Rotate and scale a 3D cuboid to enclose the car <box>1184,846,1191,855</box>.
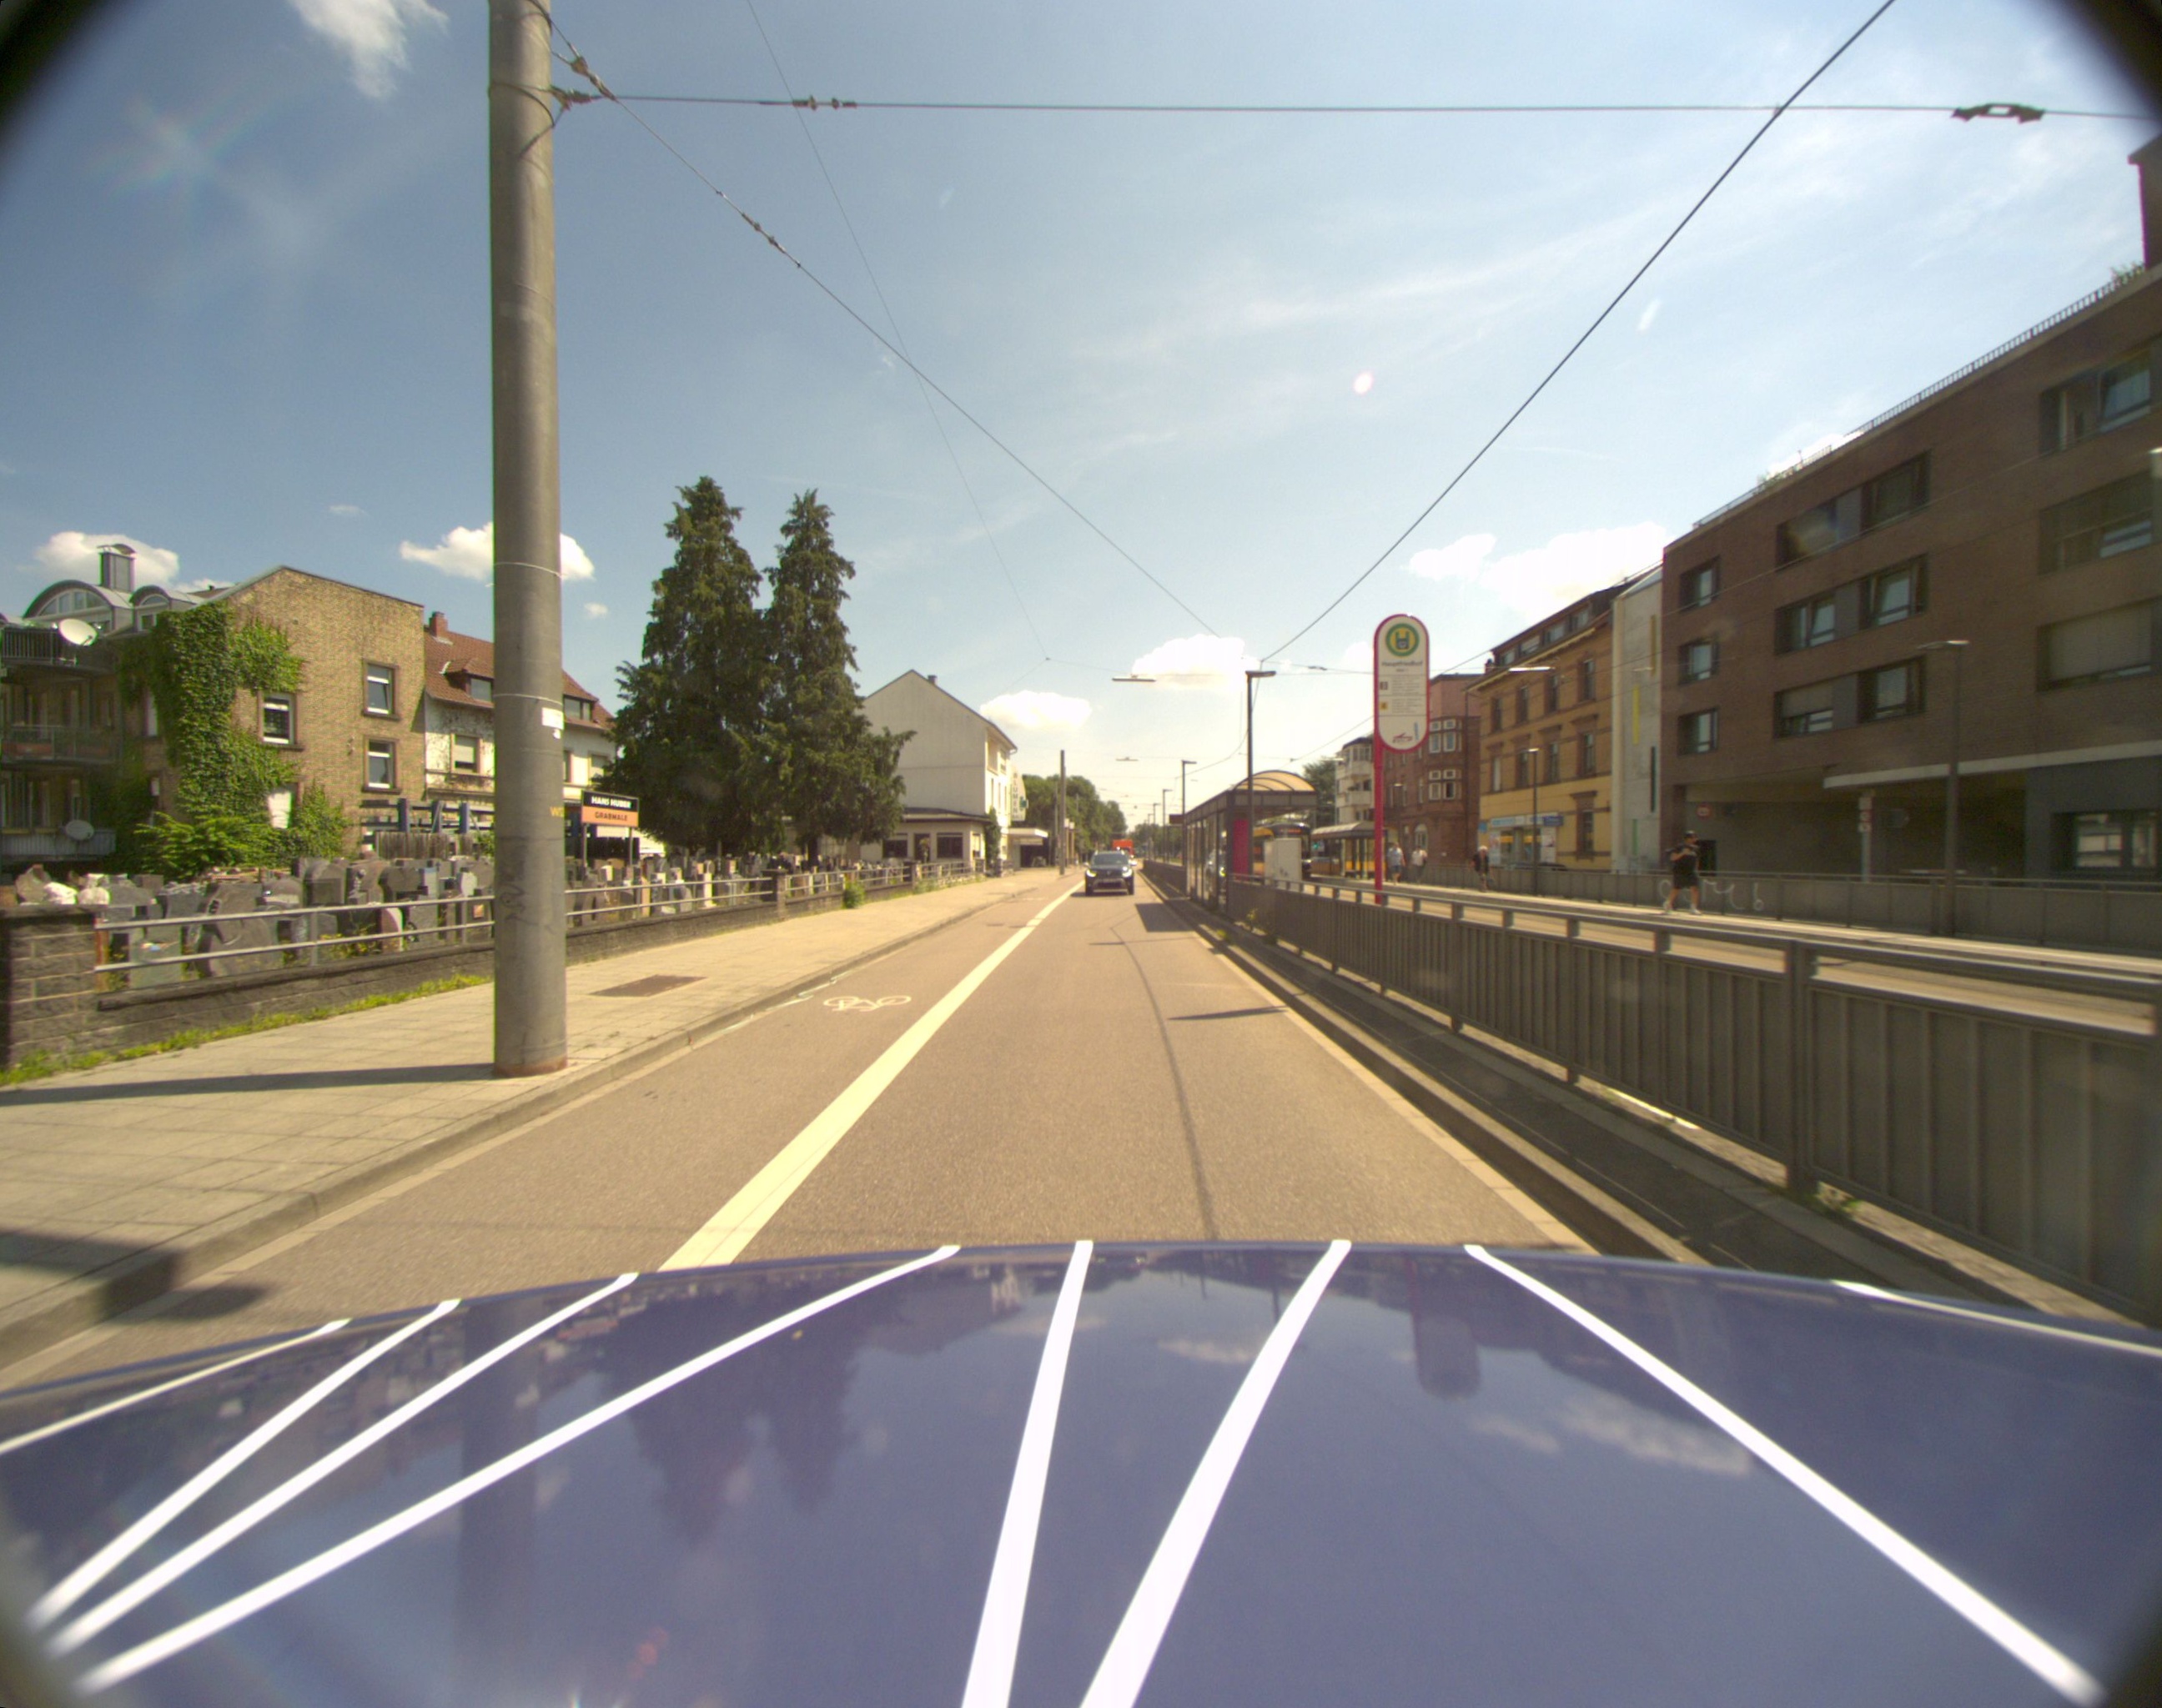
[{"bbox_3d":[32.409,-0.996,231.639,1.744,2.573,4.000,0,0,2],"label":"car"}]

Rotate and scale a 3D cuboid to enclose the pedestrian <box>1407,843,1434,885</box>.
[{"bbox_3d":[13.908,0.394,31.161,0.762,1.685,0.809,1,1,2],"label":"pedestrian"}]

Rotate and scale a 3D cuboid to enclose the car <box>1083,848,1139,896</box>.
[{"bbox_3d":[1.087,0.627,28.076,1.845,1.564,4.488,-3,0,2],"label":"car"}]

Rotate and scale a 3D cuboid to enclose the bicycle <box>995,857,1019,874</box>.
[{"bbox_3d":[-5.000,0.756,51.244,1.535,1.080,0.430,2,1,9],"label":"bicycle"}]

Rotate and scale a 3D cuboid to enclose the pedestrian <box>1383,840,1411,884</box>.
[{"bbox_3d":[13.264,0.329,31.886,0.762,1.789,0.952,1,1,2],"label":"pedestrian"}]

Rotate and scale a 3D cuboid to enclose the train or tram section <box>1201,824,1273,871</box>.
[{"bbox_3d":[13.318,-0.601,67.224,3.258,3.546,20.503,0,1,3],"label":"train or tram section"}]

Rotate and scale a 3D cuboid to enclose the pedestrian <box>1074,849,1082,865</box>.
[{"bbox_3d":[-0.298,0.339,82.789,0.563,1.656,0.683,2,1,26],"label":"pedestrian"}]

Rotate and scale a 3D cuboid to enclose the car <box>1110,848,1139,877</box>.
[{"bbox_3d":[3.156,0.582,54.996,1.998,2.002,4.000,0,1,3],"label":"car"}]

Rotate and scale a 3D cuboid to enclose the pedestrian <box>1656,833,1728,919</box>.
[{"bbox_3d":[12.863,0.448,16.027,0.687,1.750,1.033,1,1,2],"label":"pedestrian"}]

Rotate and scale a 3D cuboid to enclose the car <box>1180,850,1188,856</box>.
[{"bbox_3d":[27.200,-0.286,200.908,1.998,1.441,4.822,-1,0,4],"label":"car"}]

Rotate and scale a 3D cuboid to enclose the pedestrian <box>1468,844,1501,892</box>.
[{"bbox_3d":[13.508,0.455,25.443,0.687,1.587,0.761,1,1,2],"label":"pedestrian"}]

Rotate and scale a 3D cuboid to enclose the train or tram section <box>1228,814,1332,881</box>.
[{"bbox_3d":[12.284,-0.435,49.045,3.242,3.546,16.351,0,1,3],"label":"train or tram section"}]
